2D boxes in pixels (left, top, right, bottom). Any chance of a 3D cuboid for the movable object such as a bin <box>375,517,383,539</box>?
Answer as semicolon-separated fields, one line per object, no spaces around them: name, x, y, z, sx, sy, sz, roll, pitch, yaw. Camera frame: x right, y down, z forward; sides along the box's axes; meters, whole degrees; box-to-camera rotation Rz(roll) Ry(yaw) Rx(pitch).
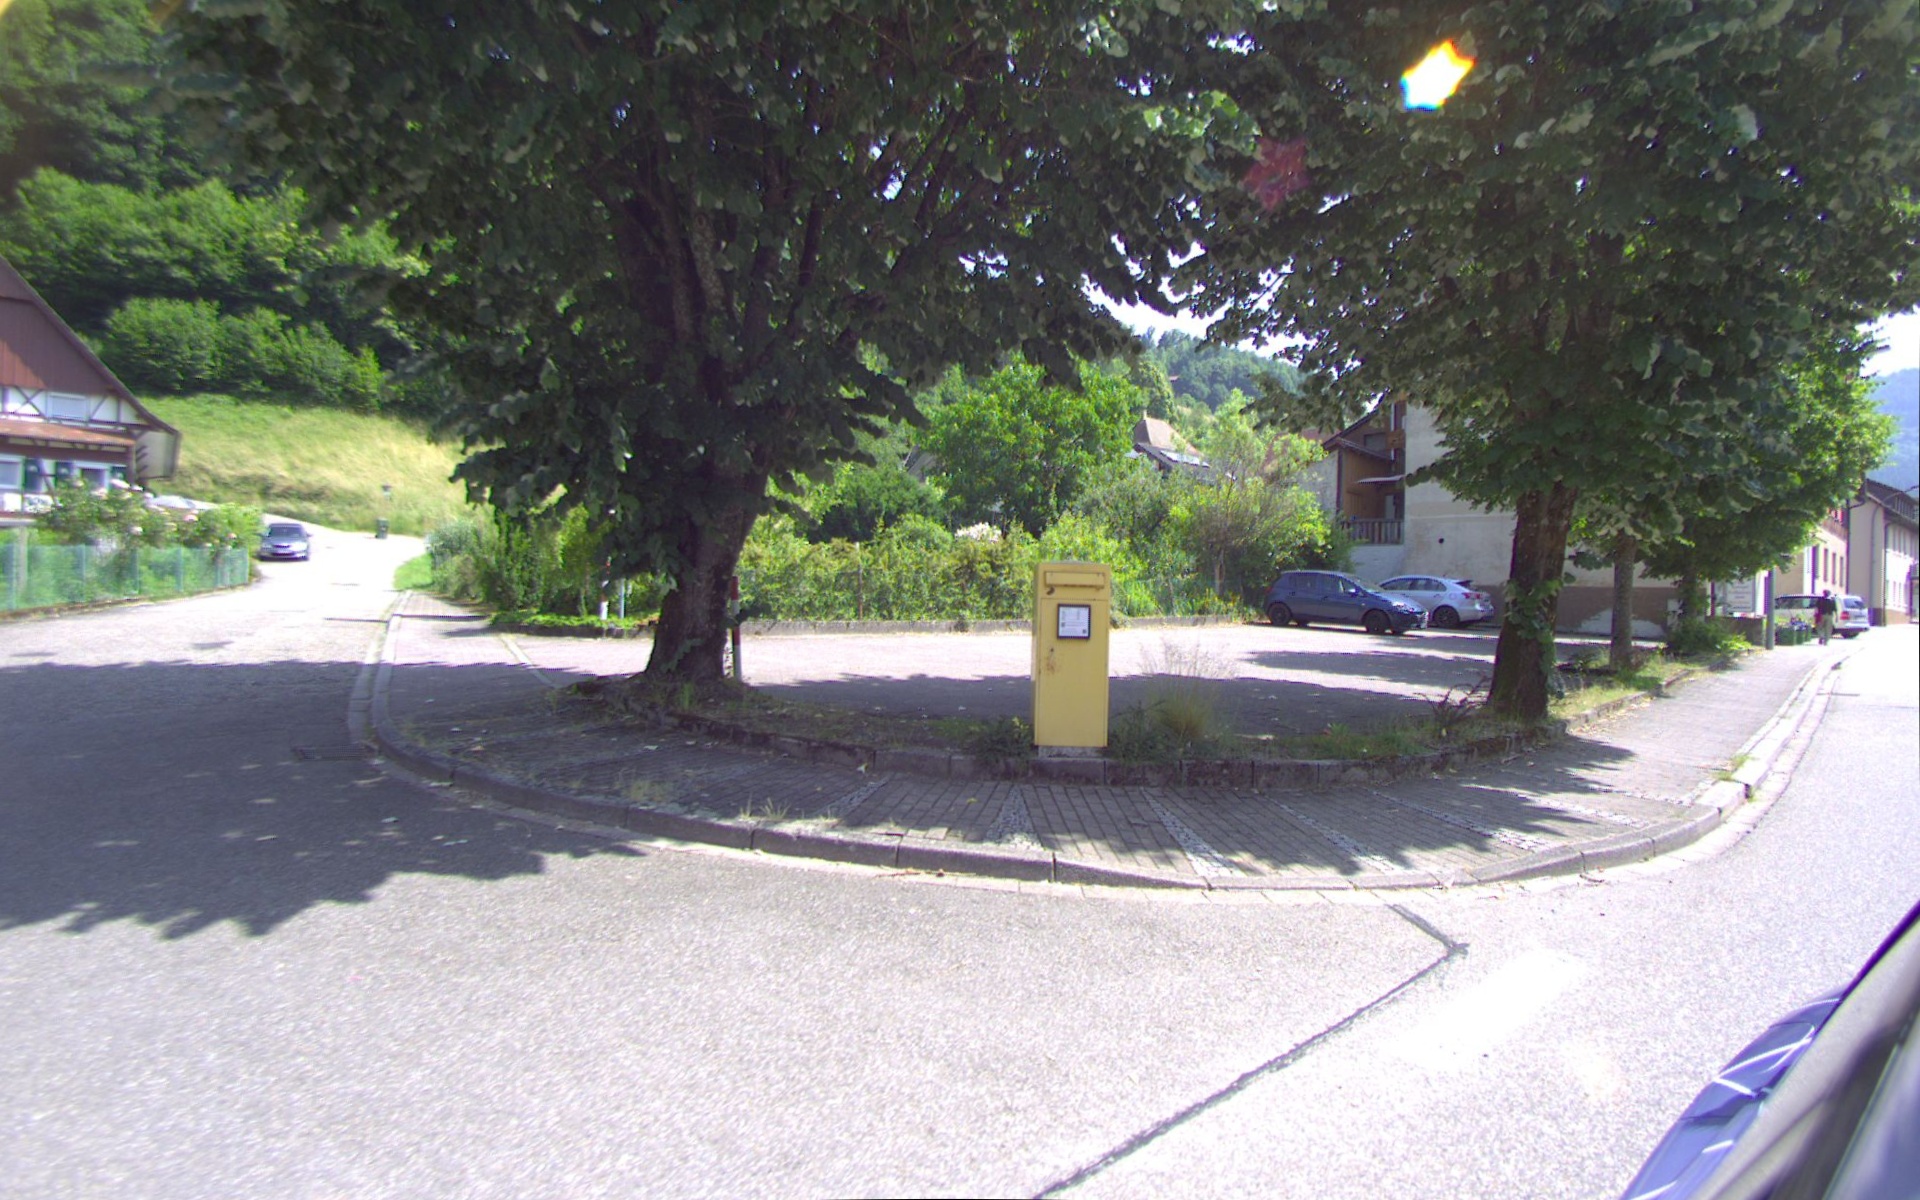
movable object such as a bin;-30.612;-3.797;53.329;0.388;1.145;0.307;0;0;-31

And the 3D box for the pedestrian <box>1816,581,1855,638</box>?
pedestrian;26.658;0.287;30.803;0.698;1.692;0.683;0;2;-34

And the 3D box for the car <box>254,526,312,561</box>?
car;-28.647;-2.384;42.940;1.848;1.340;4.005;0;2;-31

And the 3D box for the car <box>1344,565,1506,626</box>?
car;13.413;-0.174;29.335;3.934;1.489;1.631;5;4;41

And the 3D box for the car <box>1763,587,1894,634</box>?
car;32.982;0.363;38.535;1.616;1.615;3.354;1;2;-21

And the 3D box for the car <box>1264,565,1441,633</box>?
car;9.819;-0.063;25.499;3.832;1.424;1.543;5;4;42
